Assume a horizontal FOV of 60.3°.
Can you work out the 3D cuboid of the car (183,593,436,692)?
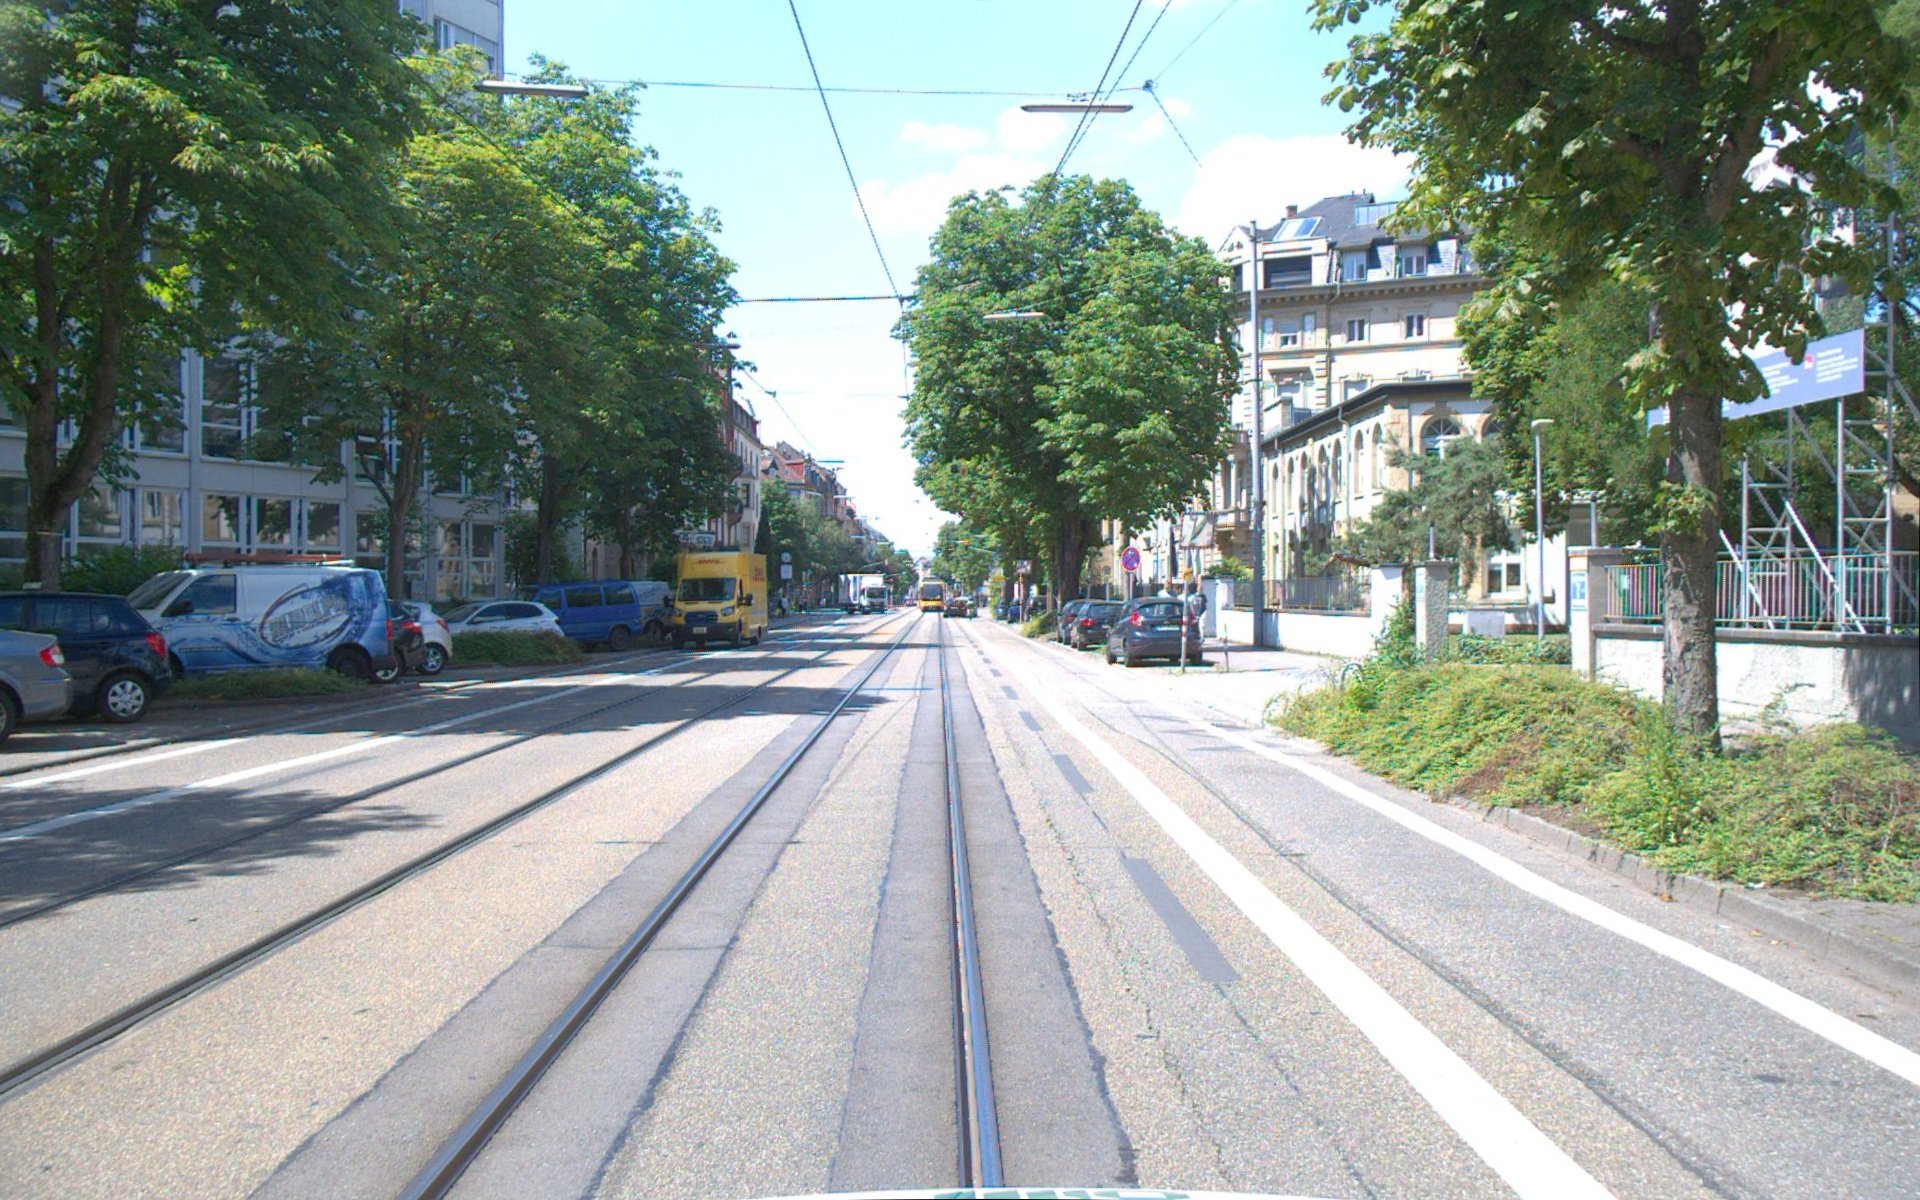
[{"bbox_3d":[-11.274,0.702,28.804,1.786,1.533,3.686,-2,0,43],"label":"car"}]

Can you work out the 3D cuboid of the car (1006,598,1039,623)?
[{"bbox_3d":[3.655,0.614,97.031,1.676,1.448,4.308,-1,0,-1],"label":"car"}]

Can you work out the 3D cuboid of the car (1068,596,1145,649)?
[{"bbox_3d":[4.291,0.640,49.163,1.838,1.480,4.527,-1,0,-1],"label":"car"}]

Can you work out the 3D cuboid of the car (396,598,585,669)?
[{"bbox_3d":[-11.047,0.774,39.091,1.730,1.458,3.978,-3,0,41],"label":"car"}]

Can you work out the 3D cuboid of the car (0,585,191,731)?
[{"bbox_3d":[-10.970,0.653,18.810,1.663,1.571,3.685,-1,0,43],"label":"car"}]

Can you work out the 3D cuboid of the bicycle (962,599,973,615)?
[{"bbox_3d":[0.490,0.466,110.335,0.626,0.986,1.780,1,-1,-2],"label":"bicycle"}]

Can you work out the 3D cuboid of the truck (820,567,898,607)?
[{"bbox_3d":[-9.446,-1.220,153.873,2.920,3.612,8.333,-1,1,-39],"label":"truck"}]

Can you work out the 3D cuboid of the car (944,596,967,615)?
[{"bbox_3d":[-0.341,0.392,122.976,1.745,1.369,3.415,0,0,-1],"label":"car"}]

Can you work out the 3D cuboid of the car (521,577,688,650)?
[{"bbox_3d":[-11.094,0.401,51.809,4.718,2.098,1.997,-2,0,-40],"label":"car"}]

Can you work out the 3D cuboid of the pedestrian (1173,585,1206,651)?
[{"bbox_3d":[6.576,0.514,47.432,0.712,1.892,0.574,-1,0,37],"label":"pedestrian"}]

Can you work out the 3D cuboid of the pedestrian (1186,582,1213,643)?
[{"bbox_3d":[7.017,0.379,48.517,0.608,1.768,0.476,-2,-1,34],"label":"pedestrian"}]

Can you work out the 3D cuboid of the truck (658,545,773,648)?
[{"bbox_3d":[-7.359,-0.135,50.707,2.312,2.902,7.378,-1,0,1],"label":"truck"}]

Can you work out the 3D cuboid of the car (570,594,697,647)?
[{"bbox_3d":[-10.889,0.679,55.362,1.717,1.628,3.893,-1,0,43],"label":"car"}]

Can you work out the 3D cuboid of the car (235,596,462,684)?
[{"bbox_3d":[-11.612,0.731,31.534,1.732,1.493,3.685,-2,0,43],"label":"car"}]

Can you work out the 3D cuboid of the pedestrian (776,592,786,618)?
[{"bbox_3d":[-11.460,0.306,106.161,0.561,1.644,0.816,0,0,0],"label":"pedestrian"}]

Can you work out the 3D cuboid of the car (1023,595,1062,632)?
[{"bbox_3d":[3.855,0.631,77.674,1.560,1.645,3.906,-1,0,-1],"label":"car"}]

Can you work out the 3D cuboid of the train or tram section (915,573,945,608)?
[{"bbox_3d":[-3.060,-0.975,171.719,2.973,3.498,11.969,0,0,0],"label":"train or tram section"}]

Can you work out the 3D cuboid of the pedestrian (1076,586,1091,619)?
[{"bbox_3d":[7.128,0.128,95.450,0.792,1.892,0.623,0,-2,-3],"label":"pedestrian"}]

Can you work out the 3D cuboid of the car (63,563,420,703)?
[{"bbox_3d":[-11.044,0.447,25.706,1.887,1.968,4.730,-2,0,41],"label":"car"}]

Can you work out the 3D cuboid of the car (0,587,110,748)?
[{"bbox_3d":[-10.643,0.686,15.804,4.168,1.533,1.845,-1,0,-42],"label":"car"}]

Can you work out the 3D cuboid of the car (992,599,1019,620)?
[{"bbox_3d":[3.136,0.660,115.327,1.676,1.448,4.308,-1,0,-1],"label":"car"}]

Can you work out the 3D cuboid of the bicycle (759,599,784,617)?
[{"bbox_3d":[-10.951,0.445,96.206,0.532,0.986,1.778,0,-2,29],"label":"bicycle"}]

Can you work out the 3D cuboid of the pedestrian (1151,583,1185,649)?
[{"bbox_3d":[6.056,0.465,48.162,0.794,1.892,0.575,-1,0,35],"label":"pedestrian"}]

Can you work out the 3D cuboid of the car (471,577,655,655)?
[{"bbox_3d":[-10.892,0.415,45.658,1.815,1.989,4.701,-1,0,43],"label":"car"}]

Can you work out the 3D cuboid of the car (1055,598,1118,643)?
[{"bbox_3d":[4.206,0.671,55.597,1.676,1.448,4.242,-1,0,-1],"label":"car"}]

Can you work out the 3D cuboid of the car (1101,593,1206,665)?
[{"bbox_3d":[4.242,0.620,36.756,1.606,1.511,3.870,-1,0,-4],"label":"car"}]
